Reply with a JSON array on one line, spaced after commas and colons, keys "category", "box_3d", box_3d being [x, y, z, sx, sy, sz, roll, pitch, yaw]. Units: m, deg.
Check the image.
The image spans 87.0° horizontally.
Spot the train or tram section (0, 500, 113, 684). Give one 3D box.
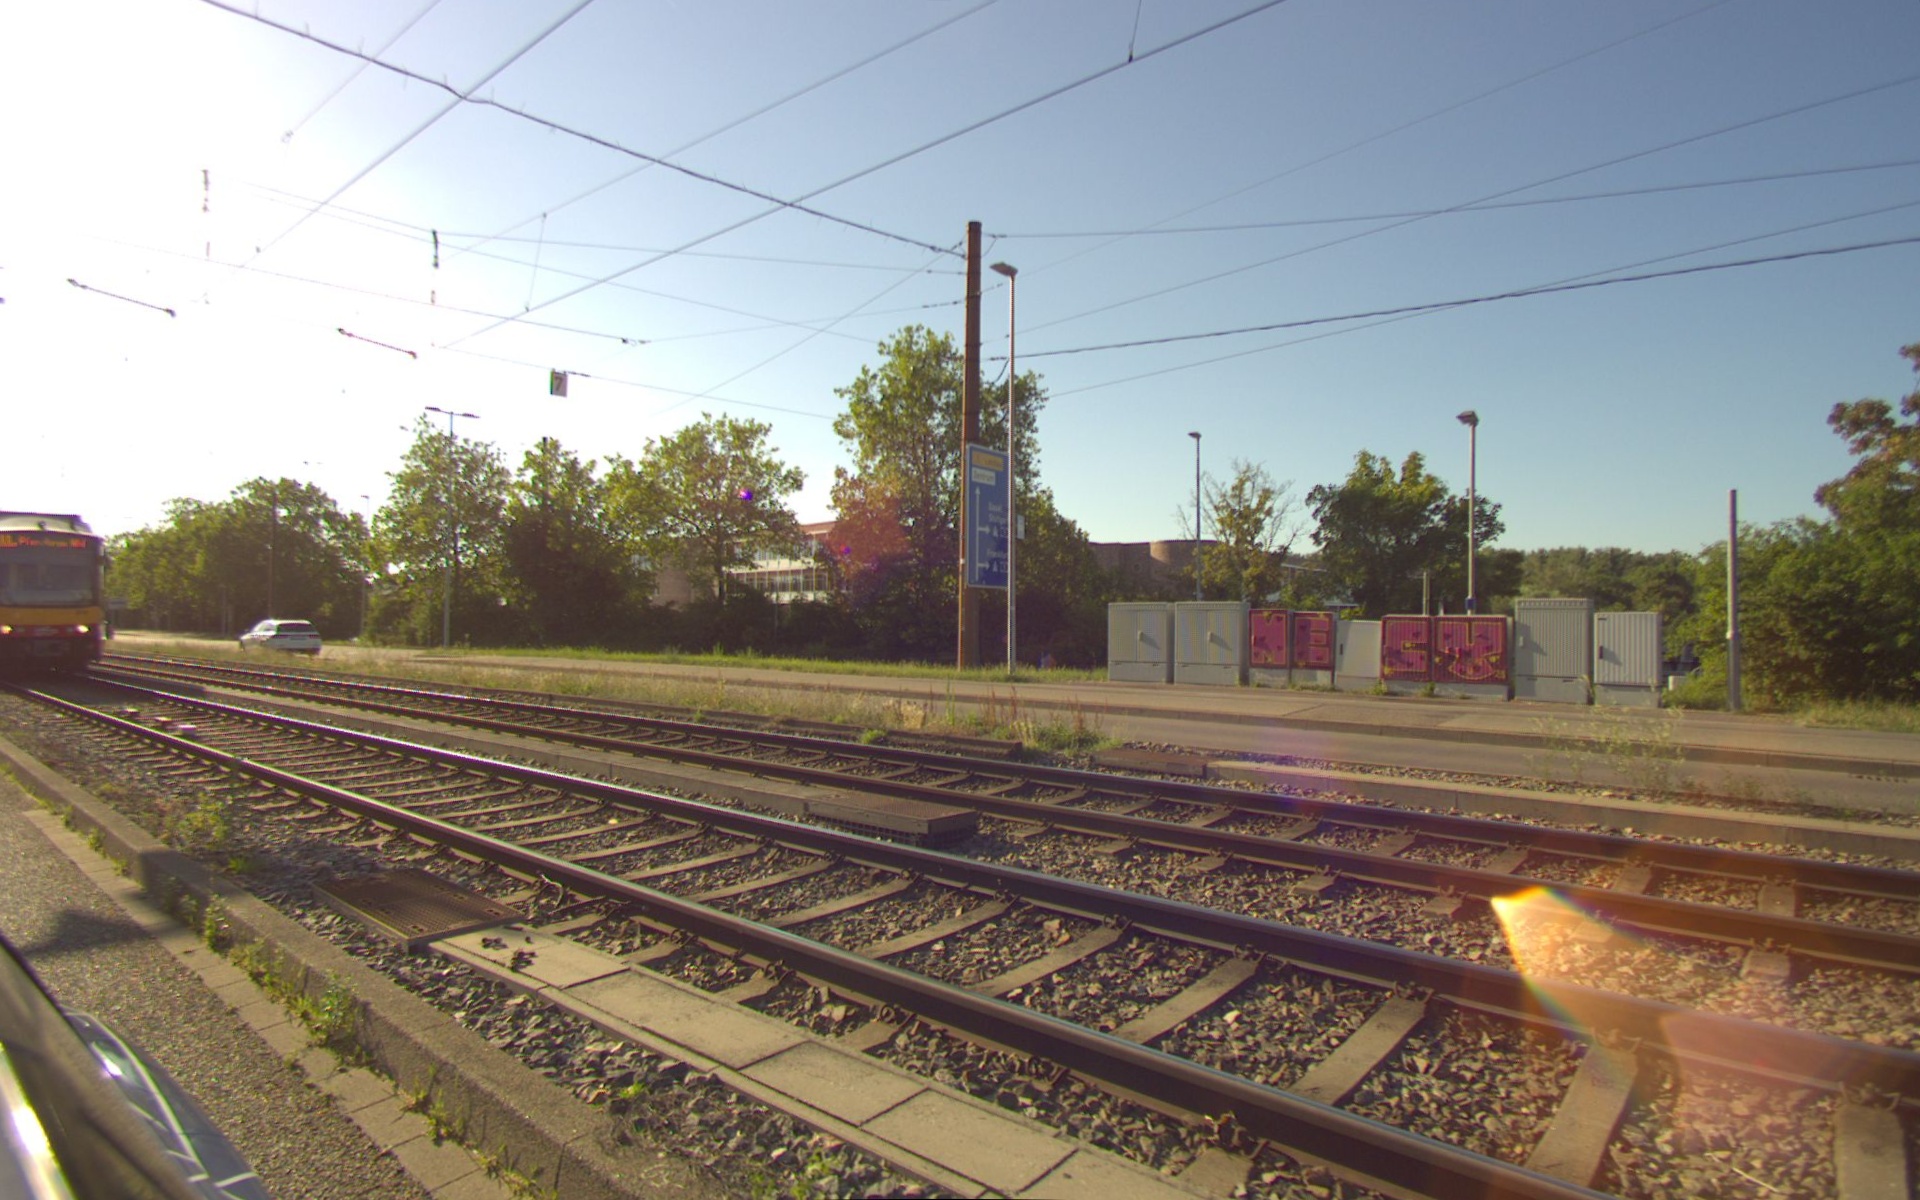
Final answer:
[{"category": "train or tram section", "box_3d": [-24.622, -0.064, 25.968, 11.664, 3.930, 2.536, -1, -2, 41]}]

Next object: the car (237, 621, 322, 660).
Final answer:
[{"category": "car", "box_3d": [-26.443, 1.532, 39.310, 3.998, 1.363, 1.778, -1, 0, 41]}]

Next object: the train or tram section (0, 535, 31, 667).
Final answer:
[{"category": "train or tram section", "box_3d": [-33.465, 0.129, 33.558, 11.664, 3.930, 2.536, -1, -2, 41]}]
